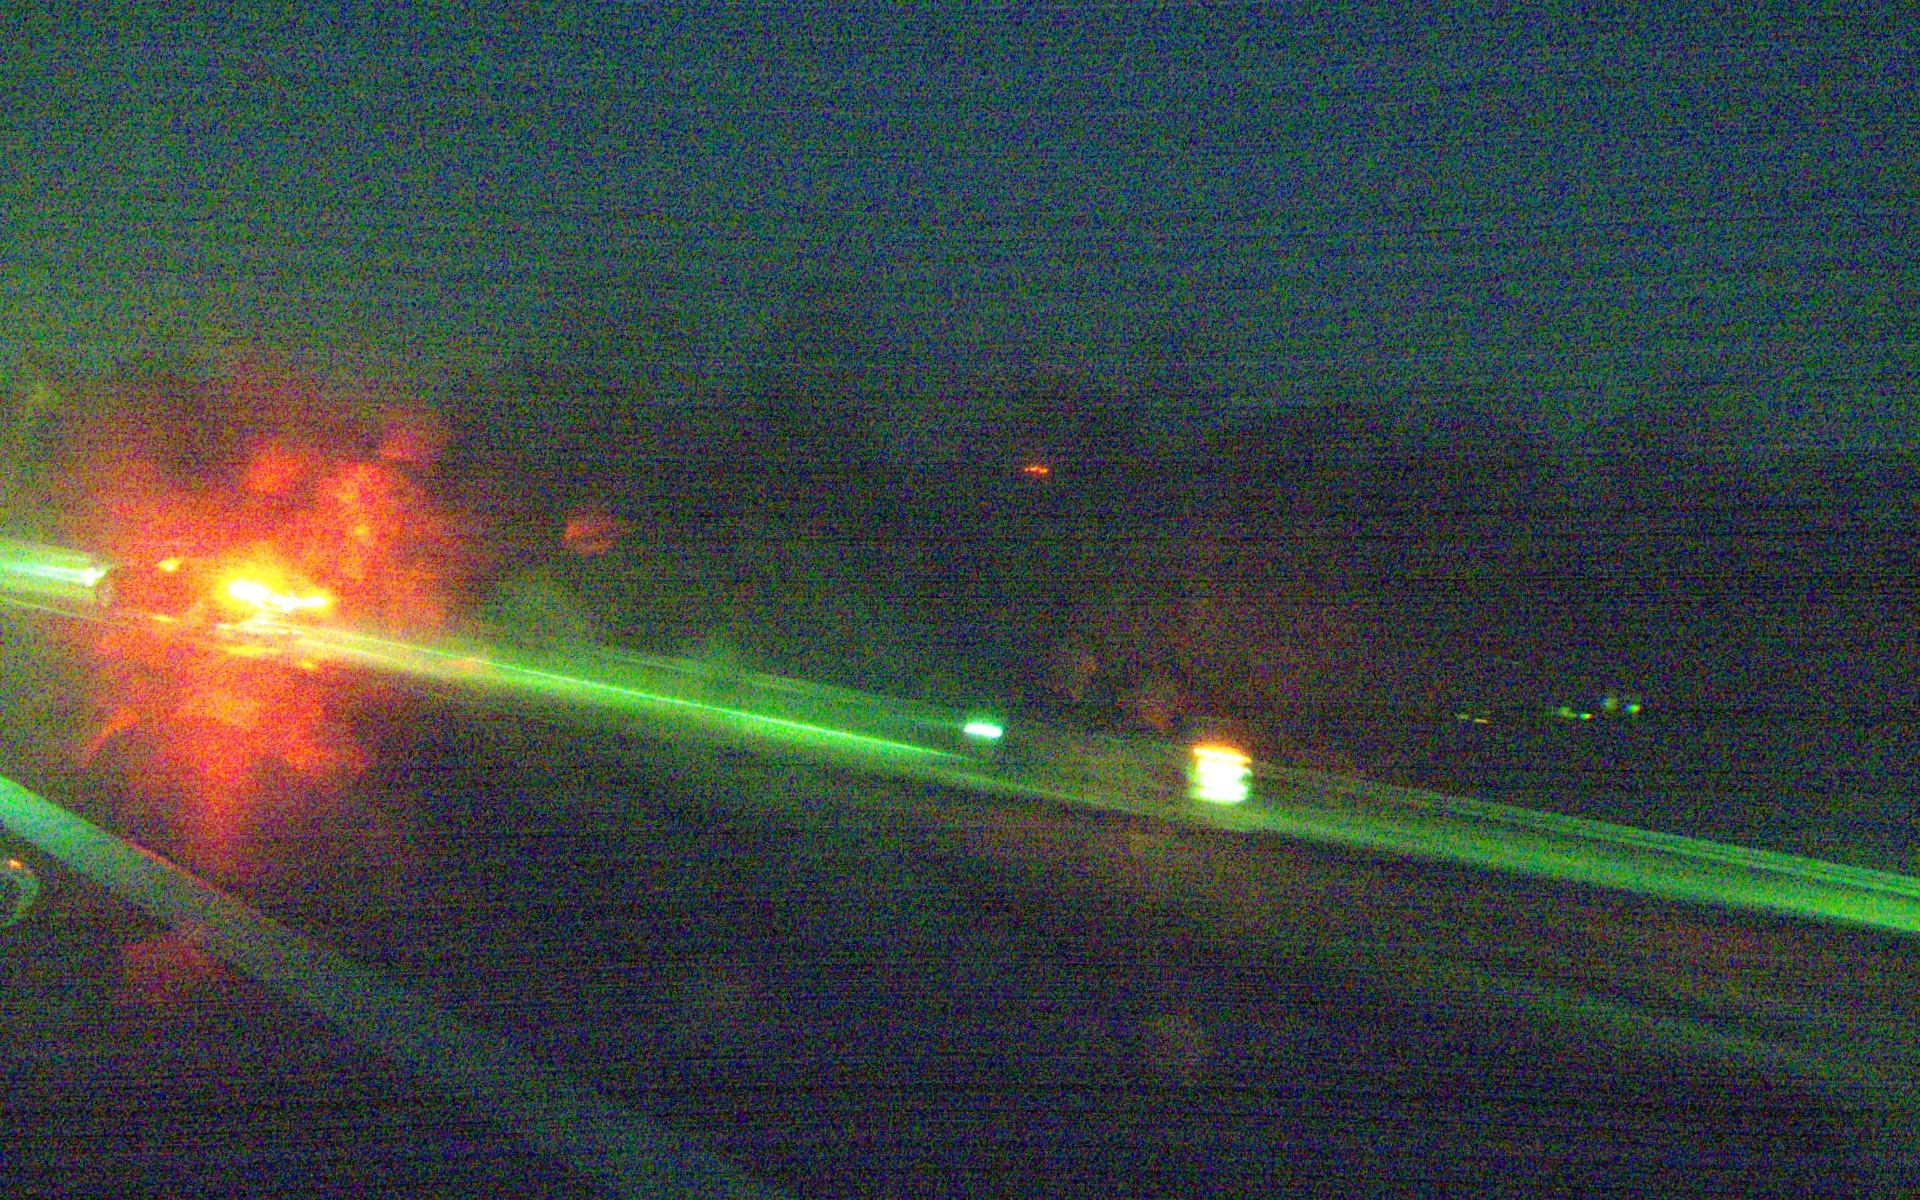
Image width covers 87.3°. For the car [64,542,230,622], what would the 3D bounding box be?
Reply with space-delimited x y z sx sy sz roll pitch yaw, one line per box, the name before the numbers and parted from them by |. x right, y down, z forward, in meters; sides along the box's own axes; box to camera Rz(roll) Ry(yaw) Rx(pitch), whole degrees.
car | -21.774 -0.491 26.947 3.971 1.514 1.726 7 -3 25

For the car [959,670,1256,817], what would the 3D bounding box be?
car | 2.362 2.203 16.049 4.248 1.502 1.796 7 -3 21

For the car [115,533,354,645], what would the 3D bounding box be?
car | -13.882 -0.222 19.217 4.262 1.465 1.999 7 -3 30
